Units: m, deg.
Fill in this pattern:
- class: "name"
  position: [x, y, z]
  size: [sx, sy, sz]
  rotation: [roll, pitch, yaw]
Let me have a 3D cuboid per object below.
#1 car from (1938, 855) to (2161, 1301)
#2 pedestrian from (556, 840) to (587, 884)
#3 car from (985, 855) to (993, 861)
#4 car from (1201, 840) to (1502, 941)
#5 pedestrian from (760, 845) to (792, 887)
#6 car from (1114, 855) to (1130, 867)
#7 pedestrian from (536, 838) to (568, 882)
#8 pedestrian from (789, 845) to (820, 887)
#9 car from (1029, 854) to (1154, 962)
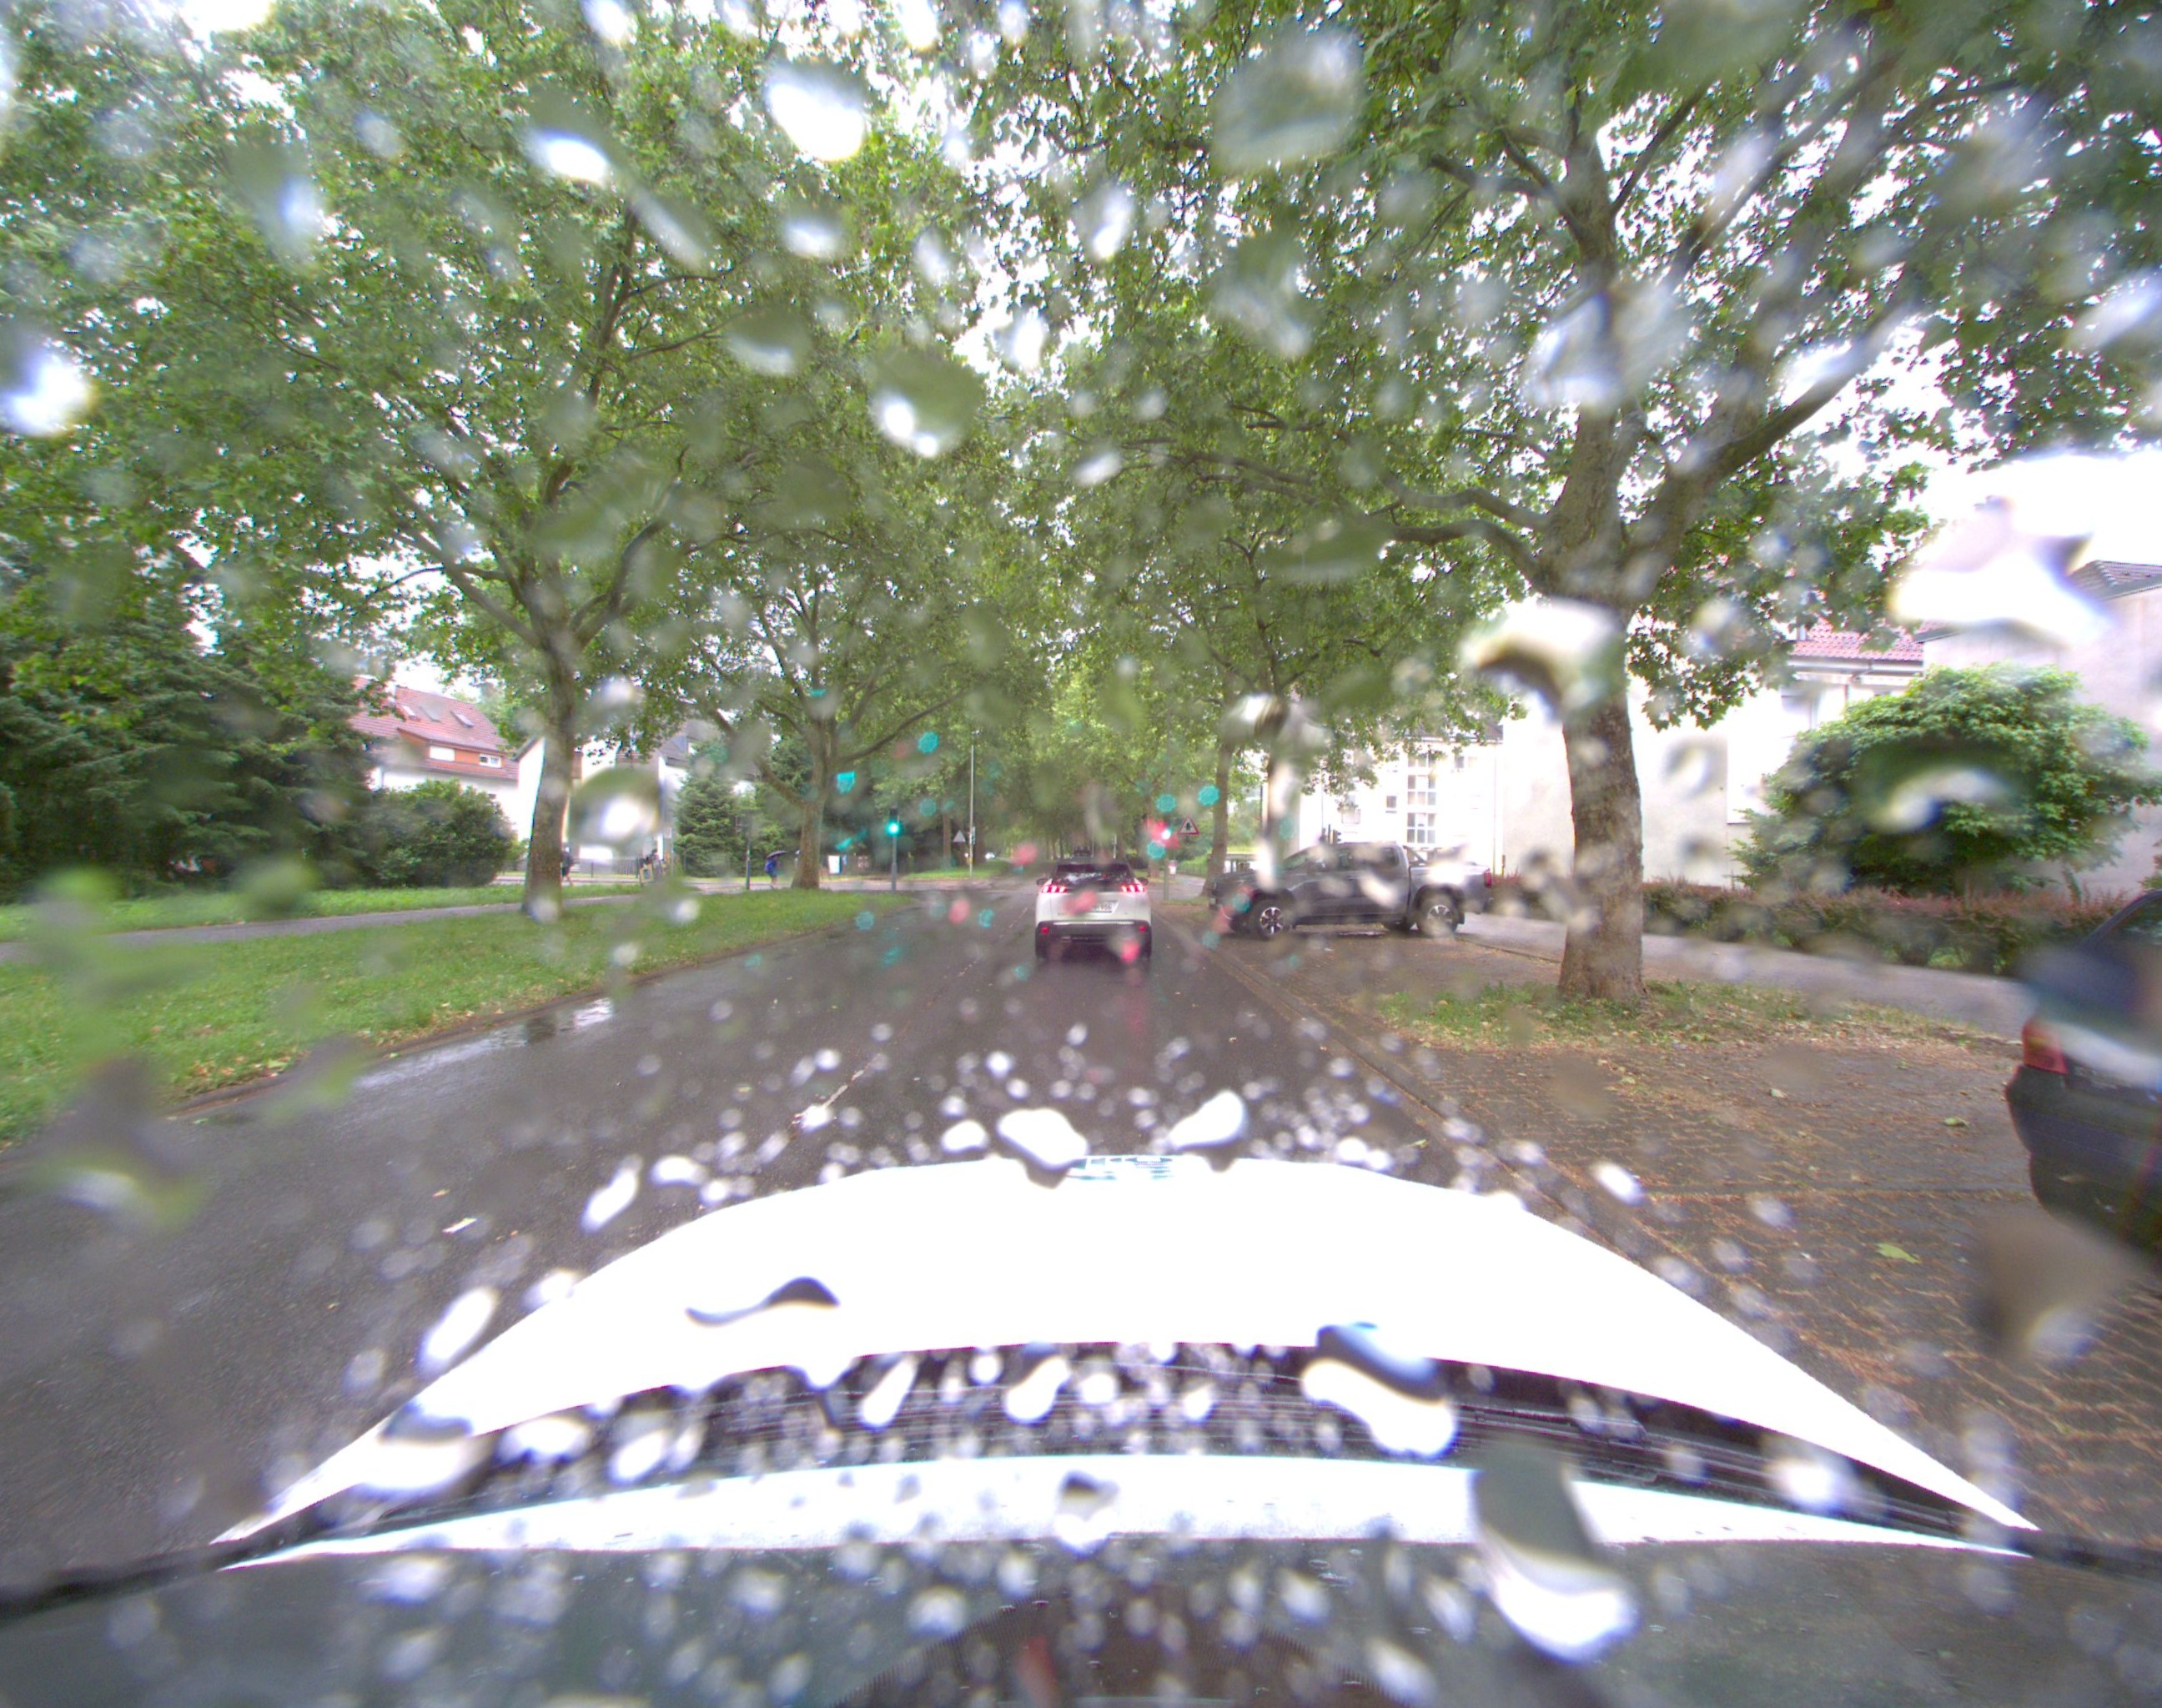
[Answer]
- class: "car"
  position: [5.227, 0.744, 2.588]
  size: [3.344, 1.464, 1.618]
  rotation: [0, 0, 0]
- class: "pedestrian"
  position: [-20.760, 0.316, 33.189]
  size: [0.856, 1.744, 0.639]
  rotation: [1, 0, -2]
- class: "car"
  position: [-26.152, 1.017, 231.974]
  size: [1.869, 1.677, 3.705]
  rotation: [1, 0, -2]
- class: "car"
  position: [5.165, 0.658, 15.931]
  size: [5.330, 1.806, 1.842]
  rotation: [0, 0, -6]
- class: "pedestrian"
  position: [-12.985, 0.499, 34.688]
  size: [1.029, 1.765, 0.879]
  rotation: [0, 0, 1]
- class: "car"
  position: [5.606, 0.946, 111.769]
  size: [1.901, 1.510, 3.928]
  rotation: [1, 0, -2]
- class: "pedestrian"
  position: [-20.940, 0.231, 32.270]
  size: [0.818, 1.744, 0.639]
  rotation: [1, 0, -2]
- class: "pedestrian"
  position: [-11.726, 0.515, 34.552]
  size: [1.029, 1.765, 0.838]
  rotation: [0, 0, 1]
- class: "car"
  position: [0.198, 0.775, 13.653]
  size: [1.774, 1.536, 4.058]
  rotation: [0, 0, 1]
